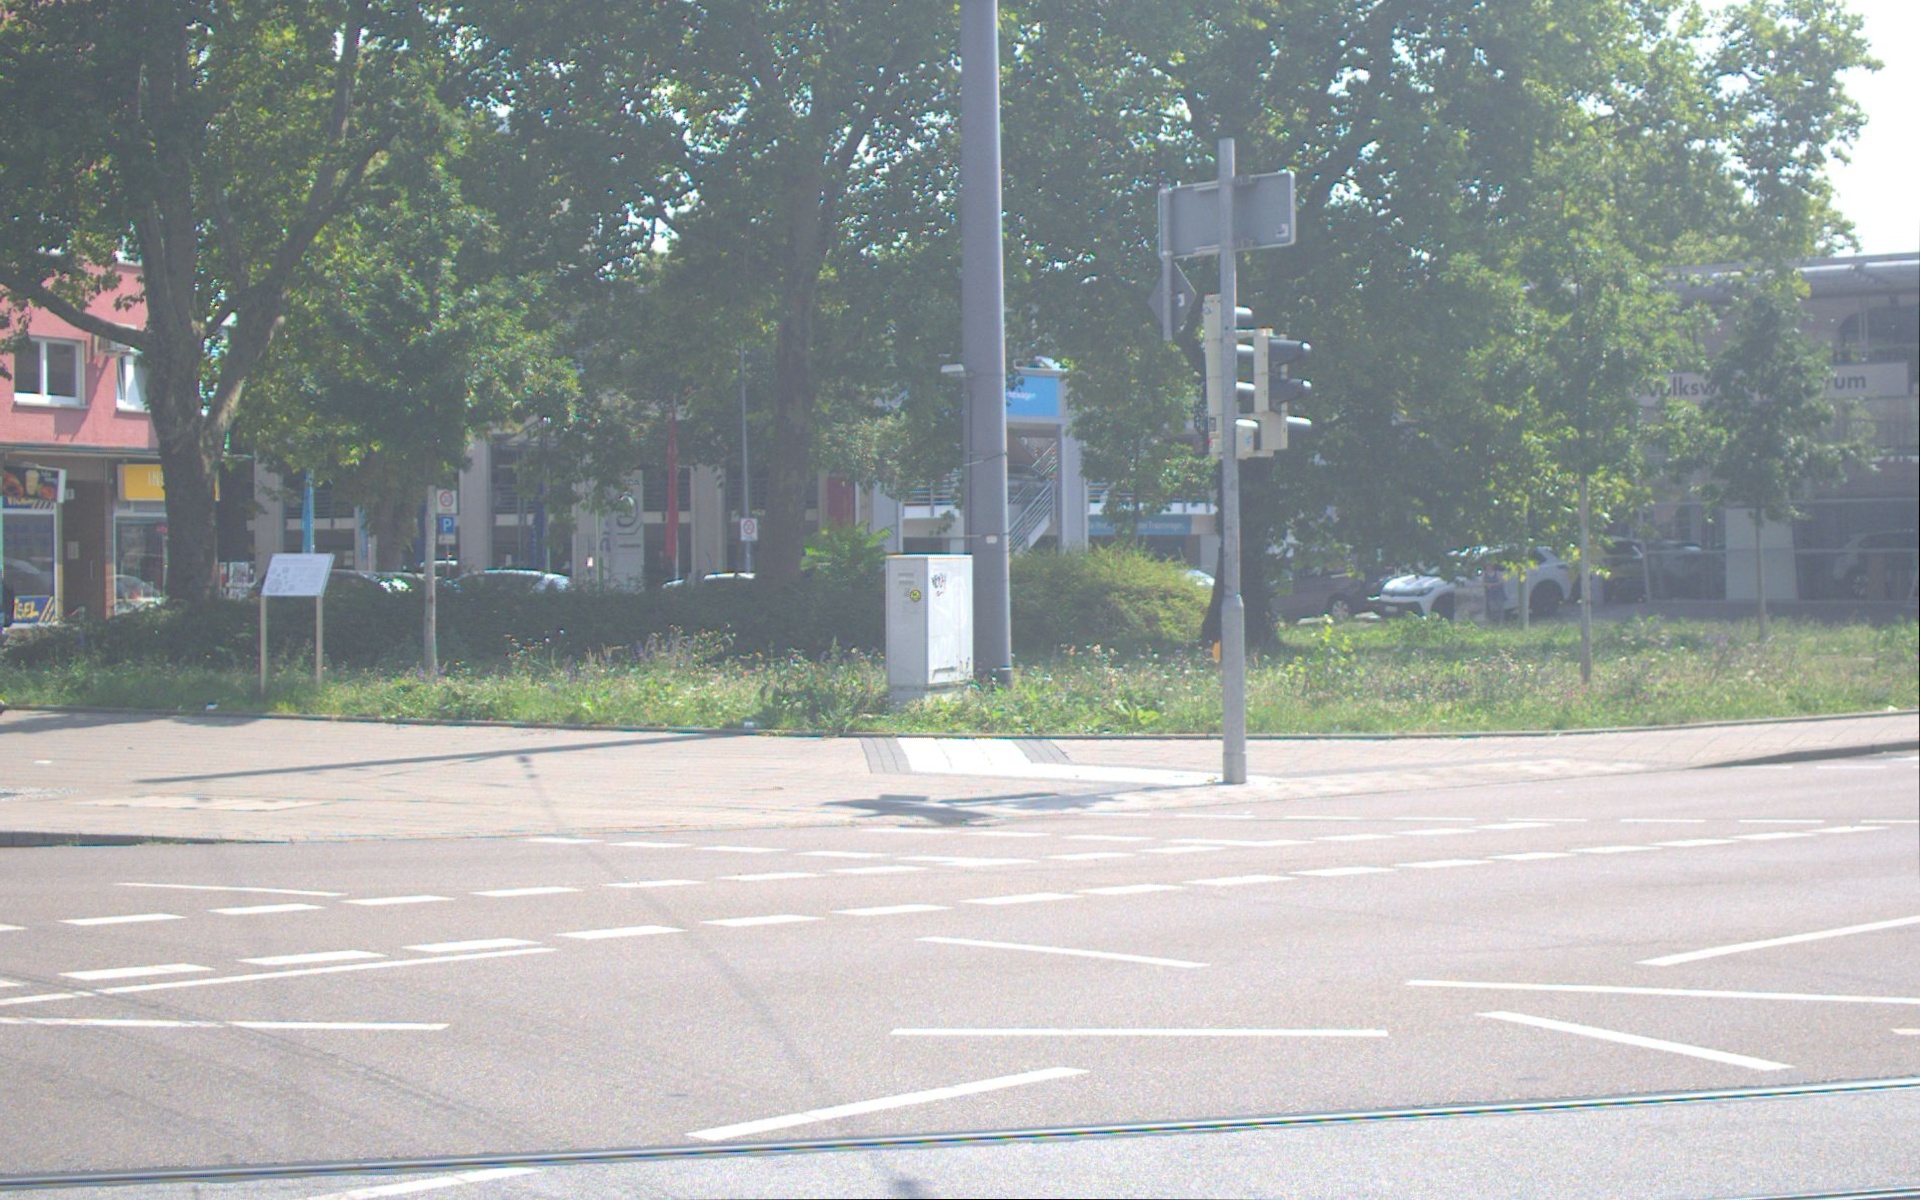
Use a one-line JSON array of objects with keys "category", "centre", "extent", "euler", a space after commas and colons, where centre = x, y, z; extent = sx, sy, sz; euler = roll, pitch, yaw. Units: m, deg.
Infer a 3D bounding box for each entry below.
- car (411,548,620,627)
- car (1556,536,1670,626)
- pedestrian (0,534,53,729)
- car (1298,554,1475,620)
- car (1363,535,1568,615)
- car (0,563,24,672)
[{"category": "car", "centre": [-9.540, -0.271, 73.791], "extent": [4.063, 1.660, 1.789], "euler": [0, 1, 17]}, {"category": "car", "centre": [15.739, -0.499, 82.611], "extent": [2.327, 2.007, 6.805], "euler": [2, 1, 13]}, {"category": "pedestrian", "centre": [-8.282, 0.264, 28.909], "extent": [0.947, 1.603, 0.793], "euler": [-1, 1, 17]}, {"category": "car", "centre": [10.128, -0.323, 81.491], "extent": [3.988, 1.503, 1.999], "euler": [-1, 1, -40]}, {"category": "car", "centre": [11.385, -0.572, 77.431], "extent": [4.245, 1.747, 1.717], "euler": [-1, 1, -20]}, {"category": "car", "centre": [-16.646, 0.284, 52.767], "extent": [4.063, 1.660, 1.789], "euler": [0, 1, 17]}]
